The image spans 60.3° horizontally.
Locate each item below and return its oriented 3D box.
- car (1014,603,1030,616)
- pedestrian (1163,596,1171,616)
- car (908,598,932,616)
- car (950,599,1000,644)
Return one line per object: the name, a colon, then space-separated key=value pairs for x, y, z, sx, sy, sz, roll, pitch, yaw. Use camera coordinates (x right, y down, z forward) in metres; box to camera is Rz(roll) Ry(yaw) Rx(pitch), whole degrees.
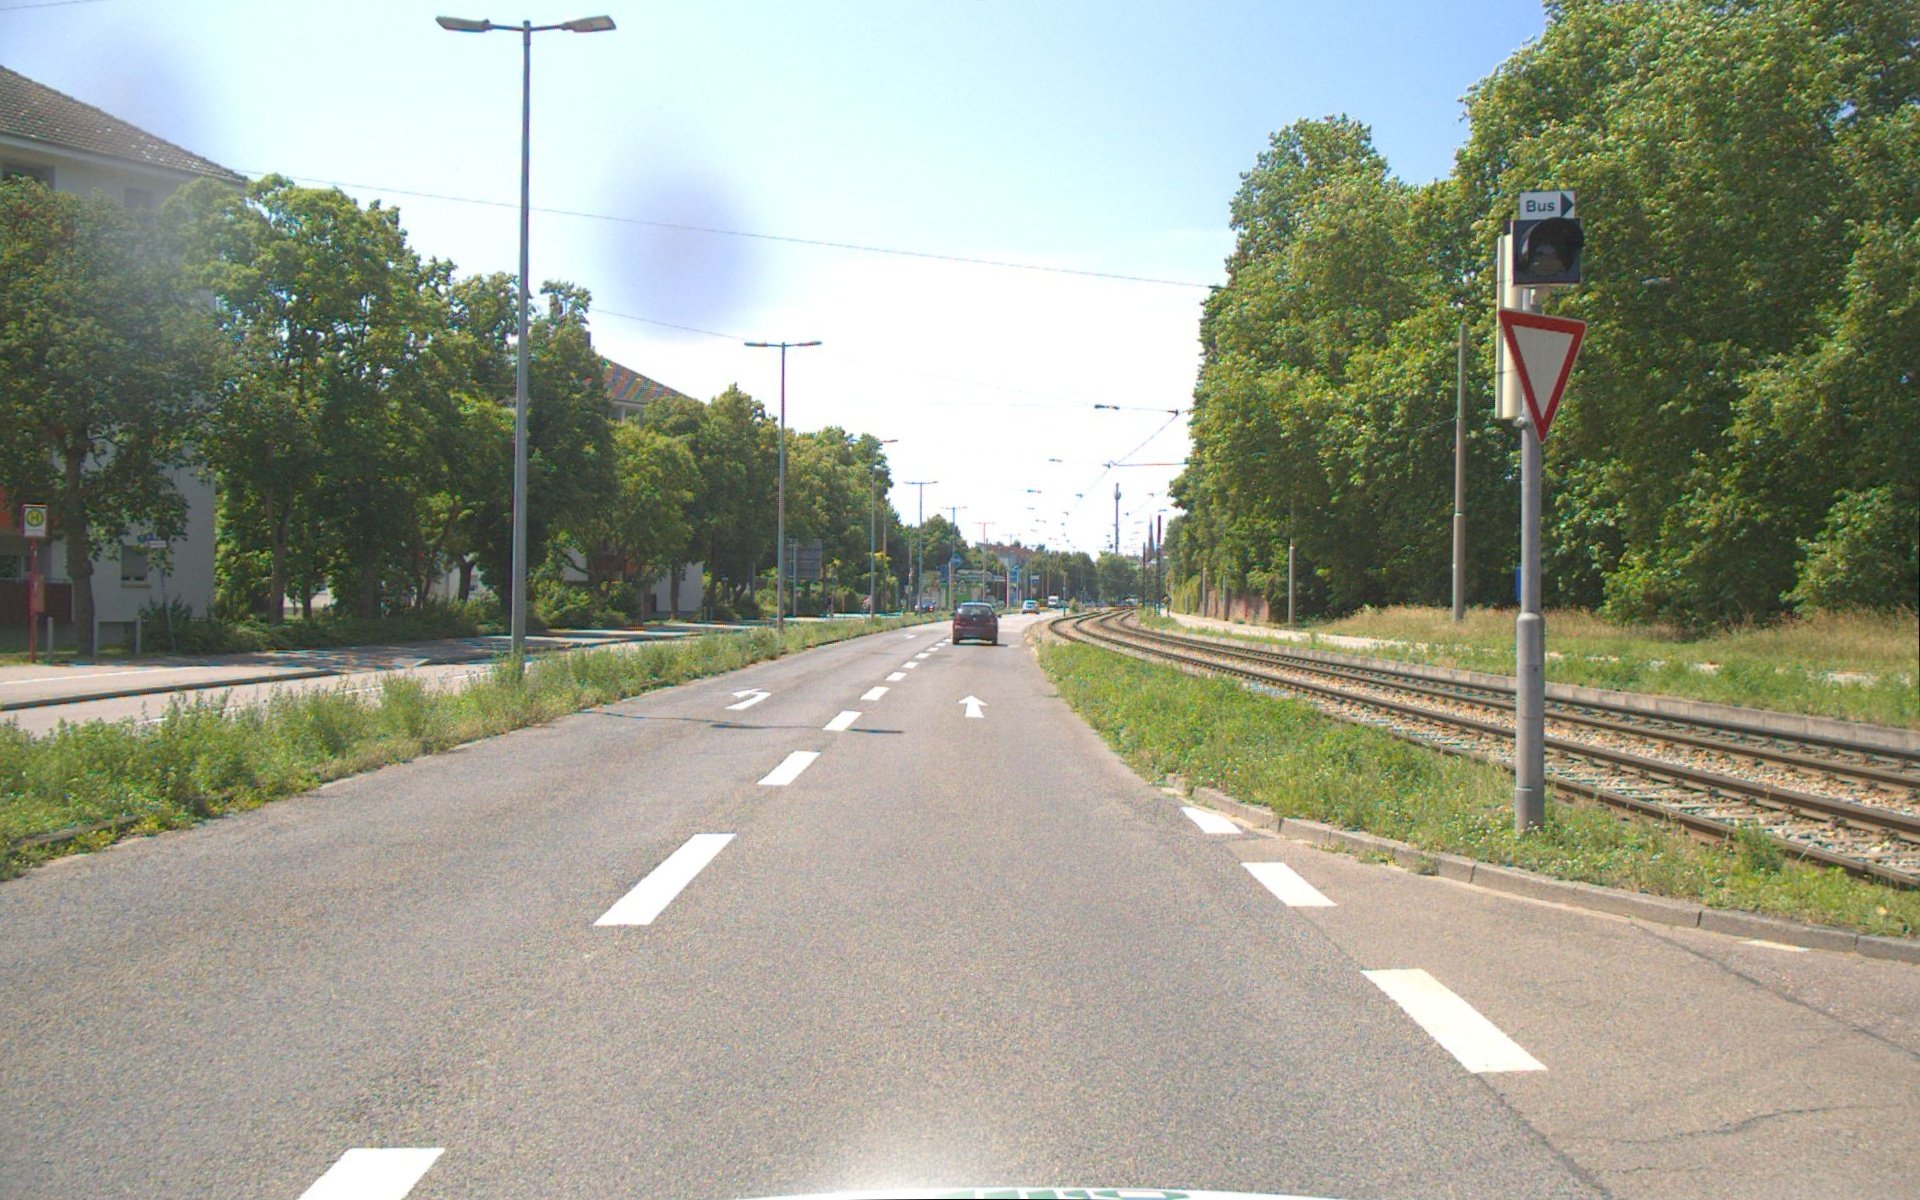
car: x=6.983 y=1.066 z=186.336 sx=1.667 sy=1.506 sz=3.717 roll=1 pitch=0 yaw=1
pedestrian: x=17.626 y=0.515 z=140.799 sx=0.647 sy=1.756 sz=0.817 roll=0 pitch=0 yaw=5
car: x=-3.742 y=0.638 z=156.260 sx=1.883 sy=1.654 sz=4.758 roll=-1 pitch=0 yaw=2
car: x=0.517 y=0.785 z=59.318 sx=1.668 sy=1.503 sz=3.716 roll=2 pitch=-1 yaw=0
